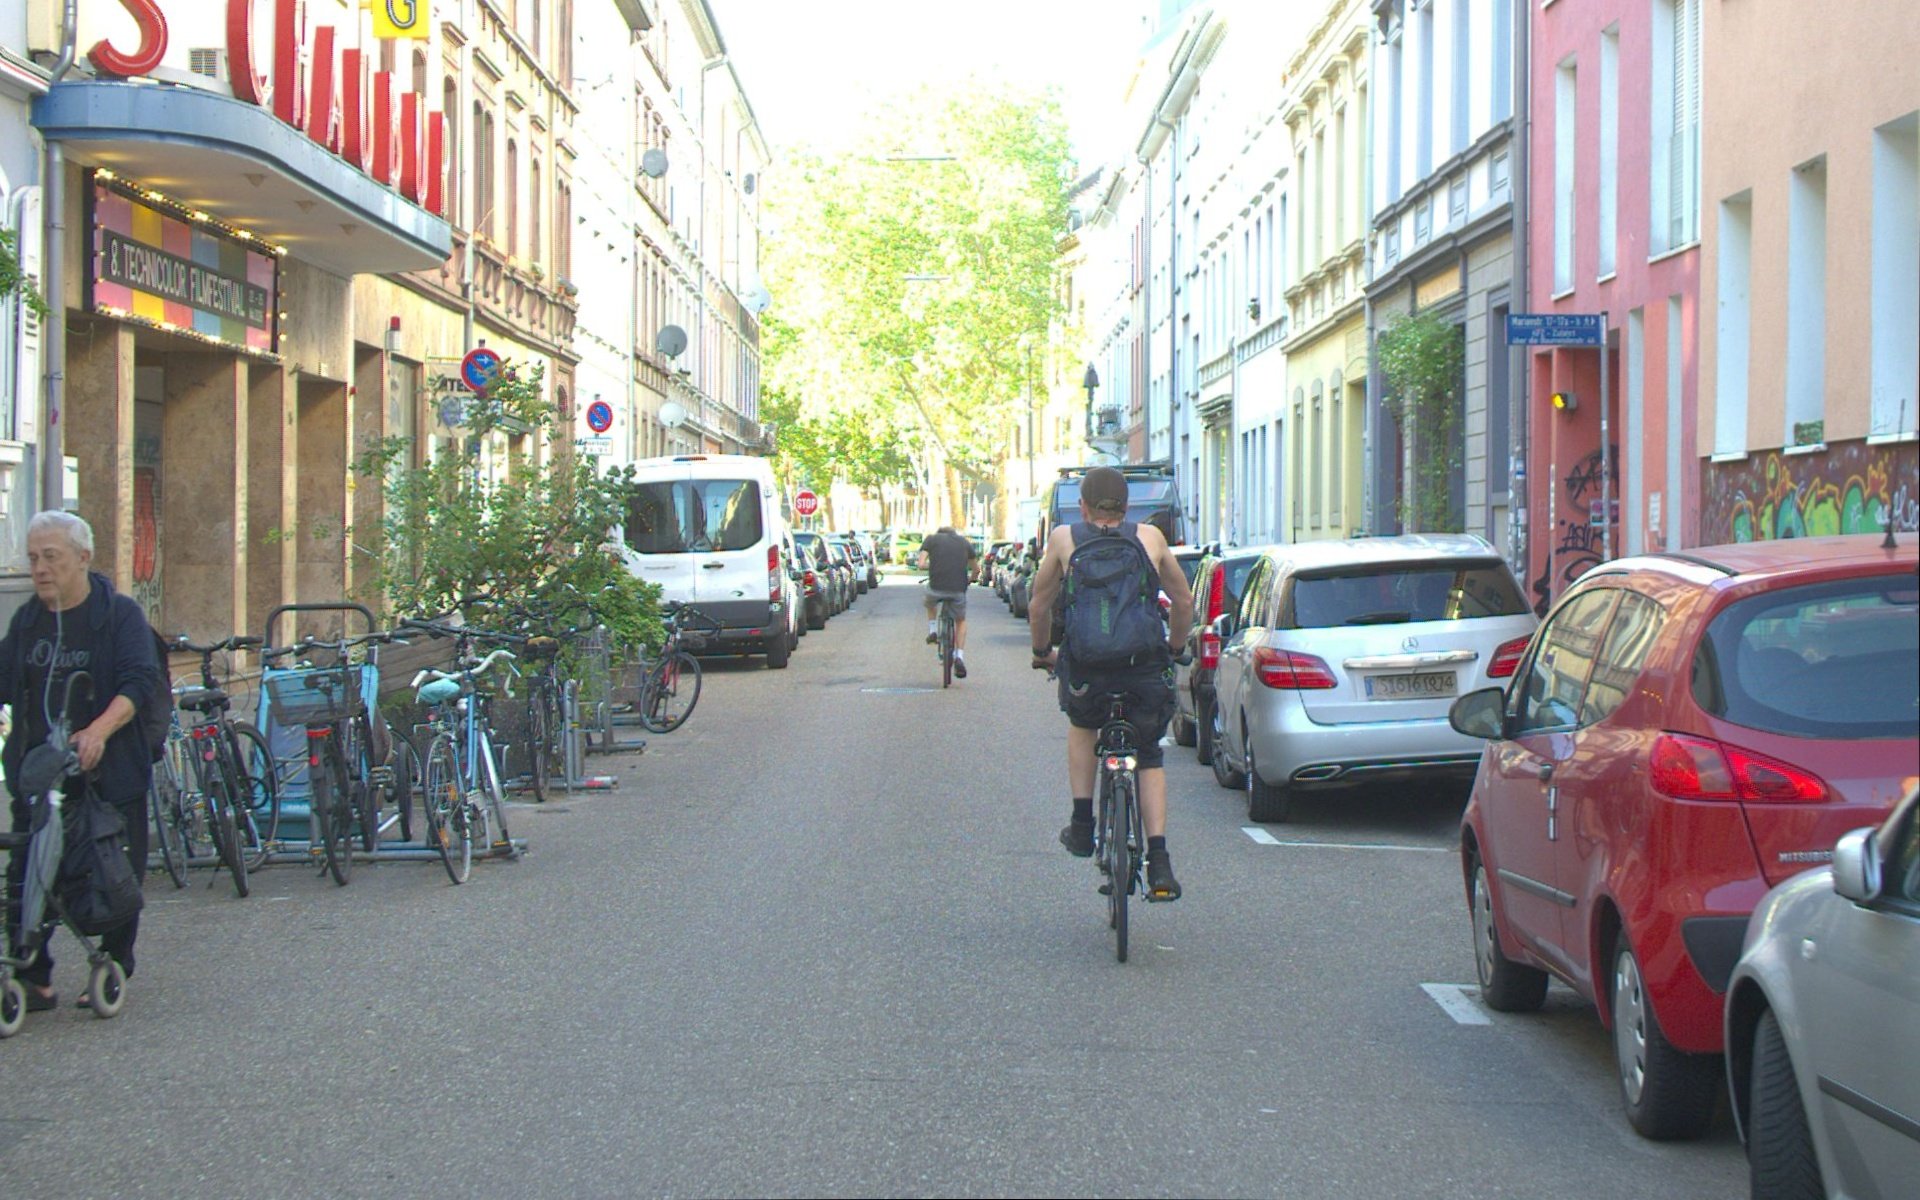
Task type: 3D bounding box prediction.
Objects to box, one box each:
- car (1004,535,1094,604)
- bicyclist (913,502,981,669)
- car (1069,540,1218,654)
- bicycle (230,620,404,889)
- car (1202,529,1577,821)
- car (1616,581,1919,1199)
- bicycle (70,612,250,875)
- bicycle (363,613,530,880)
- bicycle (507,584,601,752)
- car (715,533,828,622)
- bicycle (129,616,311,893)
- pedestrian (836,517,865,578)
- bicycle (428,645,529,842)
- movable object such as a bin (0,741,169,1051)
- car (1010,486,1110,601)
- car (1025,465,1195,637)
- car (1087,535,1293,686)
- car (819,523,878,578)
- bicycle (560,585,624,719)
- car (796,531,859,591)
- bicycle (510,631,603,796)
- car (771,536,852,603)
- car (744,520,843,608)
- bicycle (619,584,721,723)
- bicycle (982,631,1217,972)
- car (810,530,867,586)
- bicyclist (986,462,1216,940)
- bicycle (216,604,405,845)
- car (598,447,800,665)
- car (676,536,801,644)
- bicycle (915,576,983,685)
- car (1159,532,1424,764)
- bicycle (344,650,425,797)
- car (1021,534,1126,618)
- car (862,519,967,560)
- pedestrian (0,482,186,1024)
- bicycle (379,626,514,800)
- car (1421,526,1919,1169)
[{"bbox_3d":[1.885,-0.669,73.688,1.725,1.424,3.833,0,1,-2],"label":"car"},{"bbox_3d":[-0.131,-0.155,34.562,0.669,1.653,0.877,0,1,0],"label":"bicyclist"},{"bbox_3d":[2.425,-0.073,46.244,1.747,1.439,4.172,1,1,0],"label":"car"},{"bbox_3d":[-2.925,0.671,15.763,0.443,1.102,1.932,1,1,-1],"label":"bicycle"},{"bbox_3d":[2.441,0.358,20.471,1.746,1.550,4.171,0,1,1],"label":"car"},{"bbox_3d":[2.388,0.722,5.639,1.688,1.448,4.194,-1,1,-2],"label":"car"},{"bbox_3d":[-3.673,0.631,15.879,0.443,1.102,1.698,1,1,-1],"label":"bicycle"},{"bbox_3d":[-2.337,0.637,15.797,0.499,1.102,1.830,1,1,-1],"label":"bicycle"},{"bbox_3d":[-2.852,0.460,24.269,0.546,1.090,1.882,2,1,-4],"label":"bicycle"},{"bbox_3d":[-3.240,-0.424,59.665,1.862,1.435,4.646,0,2,-2],"label":"car"},{"bbox_3d":[-3.272,0.651,15.323,0.443,1.102,1.874,1,1,-2],"label":"bicycle"},{"bbox_3d":[-3.351,-1.608,105.031,0.785,1.811,0.651,2,1,-7],"label":"pedestrian"},{"bbox_3d":[-2.428,0.707,17.396,0.321,0.913,1.290,0,1,0],"label":"bicycle"},{"bbox_3d":[-2.932,0.904,10.657,0.844,0.894,0.586,1,1,-5],"label":"movable object such as a bin"},{"bbox_3d":[2.295,-1.314,79.062,2.204,2.542,6.036,0,1,2],"label":"car"},{"bbox_3d":[2.214,-0.772,52.465,2.175,2.417,6.310,-1,1,-1],"label":"car"},{"bbox_3d":[2.432,0.062,37.347,1.786,1.449,4.547,-3,1,-1],"label":"car"},{"bbox_3d":[-3.560,-1.598,110.231,1.787,1.731,3.876,0,1,-1],"label":"car"},{"bbox_3d":[-3.084,0.420,28.866,0.442,1.044,1.865,2,1,-4],"label":"bicycle"},{"bbox_3d":[-3.497,-1.051,90.658,1.604,1.525,3.379,-1,1,-2],"label":"car"},{"bbox_3d":[-2.412,0.665,20.642,0.390,0.913,1.393,0,1,0],"label":"bicycle"},{"bbox_3d":[-3.246,-0.687,75.665,1.592,1.435,3.654,0,1,1],"label":"car"},{"bbox_3d":[-3.400,-0.751,70.684,1.801,1.692,4.000,-2,1,0],"label":"car"},{"bbox_3d":[-2.359,0.418,27.801,0.460,1.044,1.751,1,1,-16],"label":"bicycle"},{"bbox_3d":[0.487,0.703,12.869,0.740,1.097,2.042,2,1,-1],"label":"bicycle"},{"bbox_3d":[-3.479,-1.217,98.032,1.544,1.545,3.466,0,1,-3],"label":"car"},{"bbox_3d":[0.503,0.347,12.721,0.740,1.673,1.117,2,1,-1],"label":"bicyclist"},{"bbox_3d":[-3.296,0.621,17.522,0.812,1.171,0.920,1,1,-2],"label":"bicycle"},{"bbox_3d":[-3.124,-0.567,42.315,2.168,2.443,5.922,-1,1,-2],"label":"car"},{"bbox_3d":[-3.082,-0.170,48.378,1.645,1.442,3.840,0,1,-2],"label":"car"},{"bbox_3d":[-0.110,0.291,34.633,0.664,1.034,1.959,0,1,0],"label":"bicycle"},{"bbox_3d":[2.372,0.296,25.287,1.602,1.534,3.450,-2,1,1],"label":"car"},{"bbox_3d":[-3.481,0.734,20.846,0.256,0.814,1.299,1,1,0],"label":"bicycle"},{"bbox_3d":[2.074,-0.471,63.795,1.746,1.480,4.243,0,1,-1],"label":"car"},{"bbox_3d":[-1.984,-2.633,149.663,4.468,1.753,1.867,0,1,-4],"label":"car"},{"bbox_3d":[-2.955,0.477,11.194,0.713,1.702,0.672,1,1,-3],"label":"pedestrian"},{"bbox_3d":[-3.017,0.647,20.292,0.554,0.941,1.572,0,1,0],"label":"bicycle"},{"bbox_3d":[2.485,0.556,10.262,1.697,1.518,3.980,-1,1,1],"label":"car"}]
